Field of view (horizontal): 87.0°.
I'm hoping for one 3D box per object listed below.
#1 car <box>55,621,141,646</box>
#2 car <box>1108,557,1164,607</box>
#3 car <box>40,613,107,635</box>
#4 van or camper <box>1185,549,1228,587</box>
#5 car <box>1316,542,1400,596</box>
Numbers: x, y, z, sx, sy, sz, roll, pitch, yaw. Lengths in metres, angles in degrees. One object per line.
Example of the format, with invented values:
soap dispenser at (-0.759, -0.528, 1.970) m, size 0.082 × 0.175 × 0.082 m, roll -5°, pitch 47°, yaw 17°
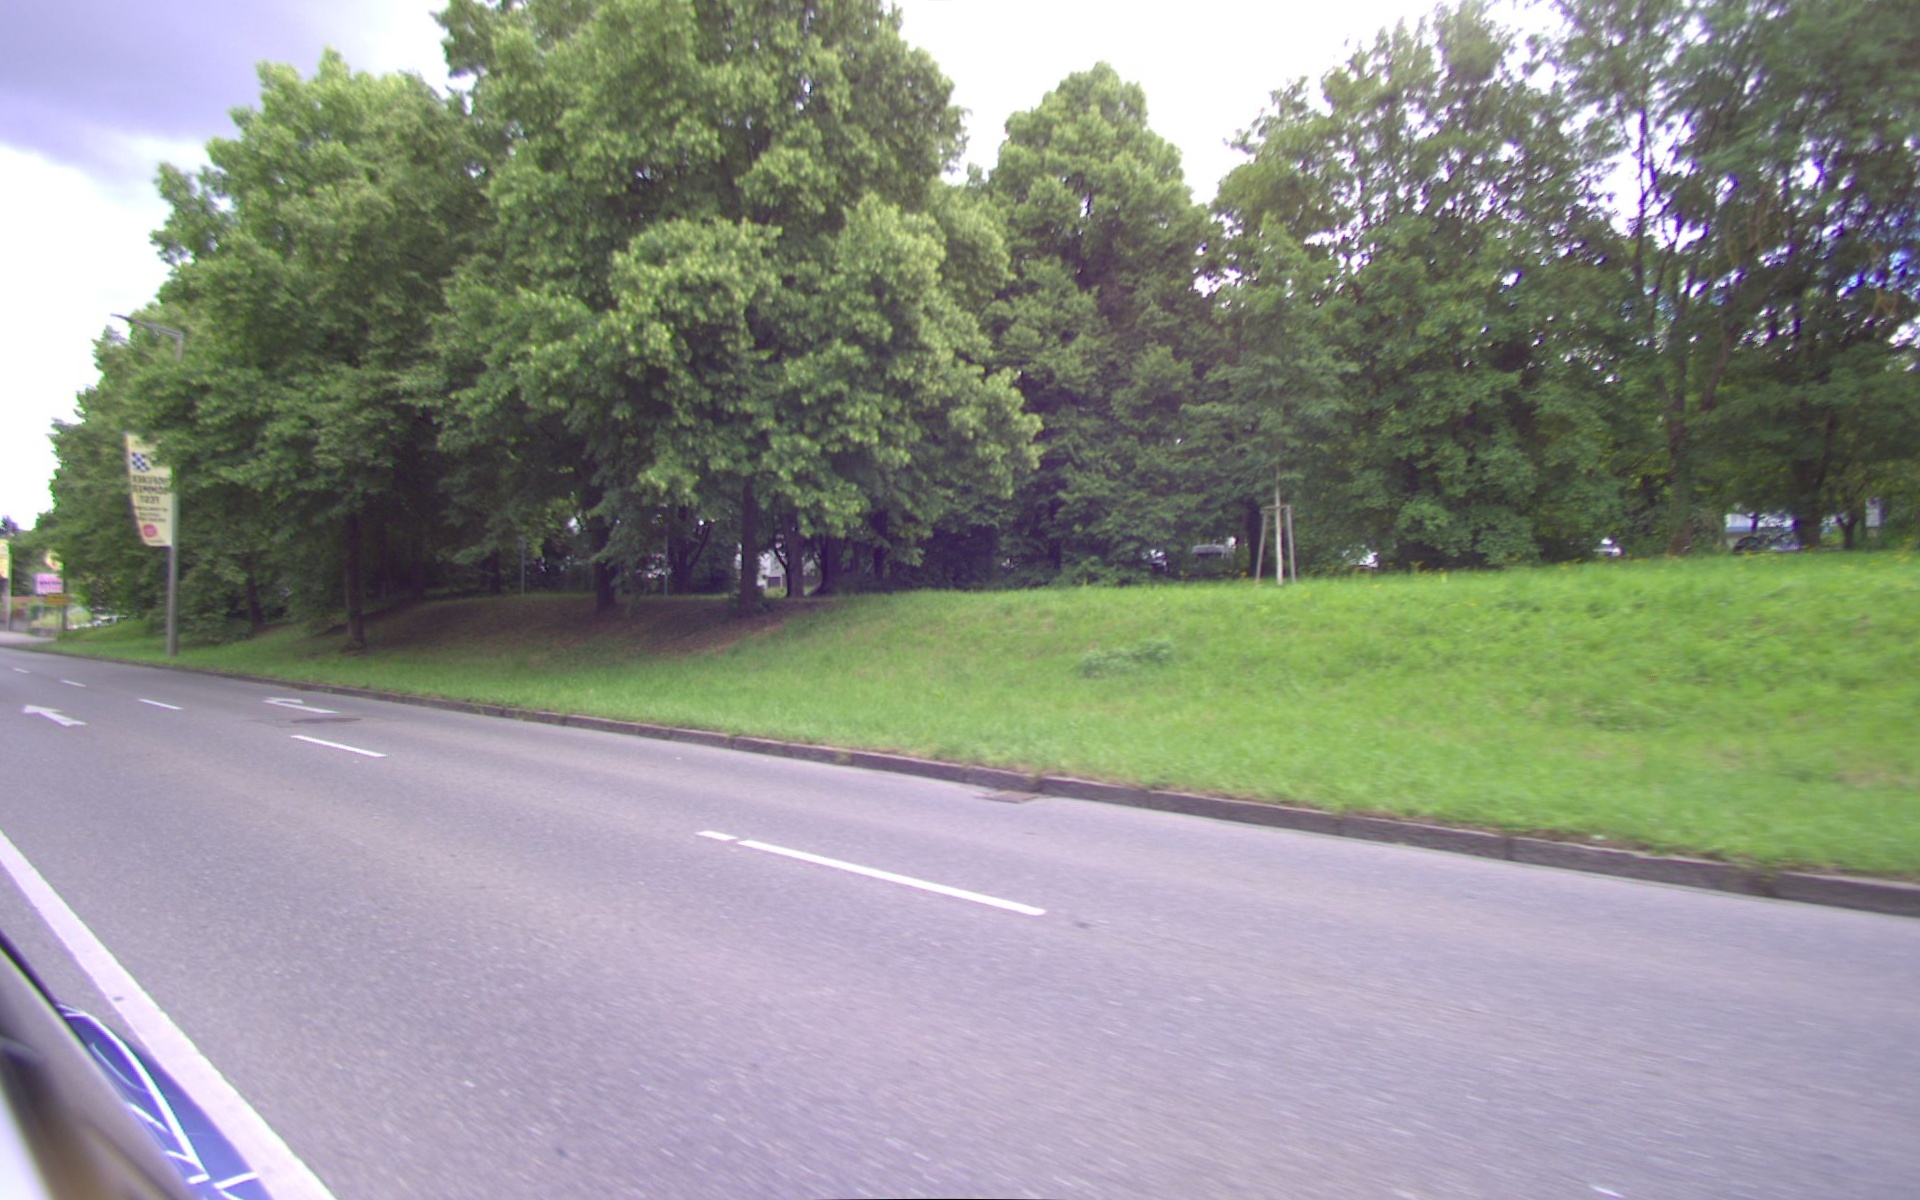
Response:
car at (-58.360, 2.273, 68.588) m, size 1.746 × 1.503 × 4.169 m, roll -3°, pitch -2°, yaw 37°
car at (7.338, -0.711, 41.942) m, size 1.980 × 1.910 × 4.884 m, roll -1°, pitch 0°, yaw 13°
car at (-70.998, 1.872, 81.094) m, size 1.878 × 1.630 × 3.855 m, roll -1°, pitch 0°, yaw 40°
van or camper at (14.217, -1.777, 58.262) m, size 1.911 × 2.029 × 4.194 m, roll -1°, pitch 0°, yaw 20°
car at (15.198, -1.122, 38.954) m, size 2.298 × 1.910 × 4.884 m, roll -1°, pitch 0°, yaw 13°
